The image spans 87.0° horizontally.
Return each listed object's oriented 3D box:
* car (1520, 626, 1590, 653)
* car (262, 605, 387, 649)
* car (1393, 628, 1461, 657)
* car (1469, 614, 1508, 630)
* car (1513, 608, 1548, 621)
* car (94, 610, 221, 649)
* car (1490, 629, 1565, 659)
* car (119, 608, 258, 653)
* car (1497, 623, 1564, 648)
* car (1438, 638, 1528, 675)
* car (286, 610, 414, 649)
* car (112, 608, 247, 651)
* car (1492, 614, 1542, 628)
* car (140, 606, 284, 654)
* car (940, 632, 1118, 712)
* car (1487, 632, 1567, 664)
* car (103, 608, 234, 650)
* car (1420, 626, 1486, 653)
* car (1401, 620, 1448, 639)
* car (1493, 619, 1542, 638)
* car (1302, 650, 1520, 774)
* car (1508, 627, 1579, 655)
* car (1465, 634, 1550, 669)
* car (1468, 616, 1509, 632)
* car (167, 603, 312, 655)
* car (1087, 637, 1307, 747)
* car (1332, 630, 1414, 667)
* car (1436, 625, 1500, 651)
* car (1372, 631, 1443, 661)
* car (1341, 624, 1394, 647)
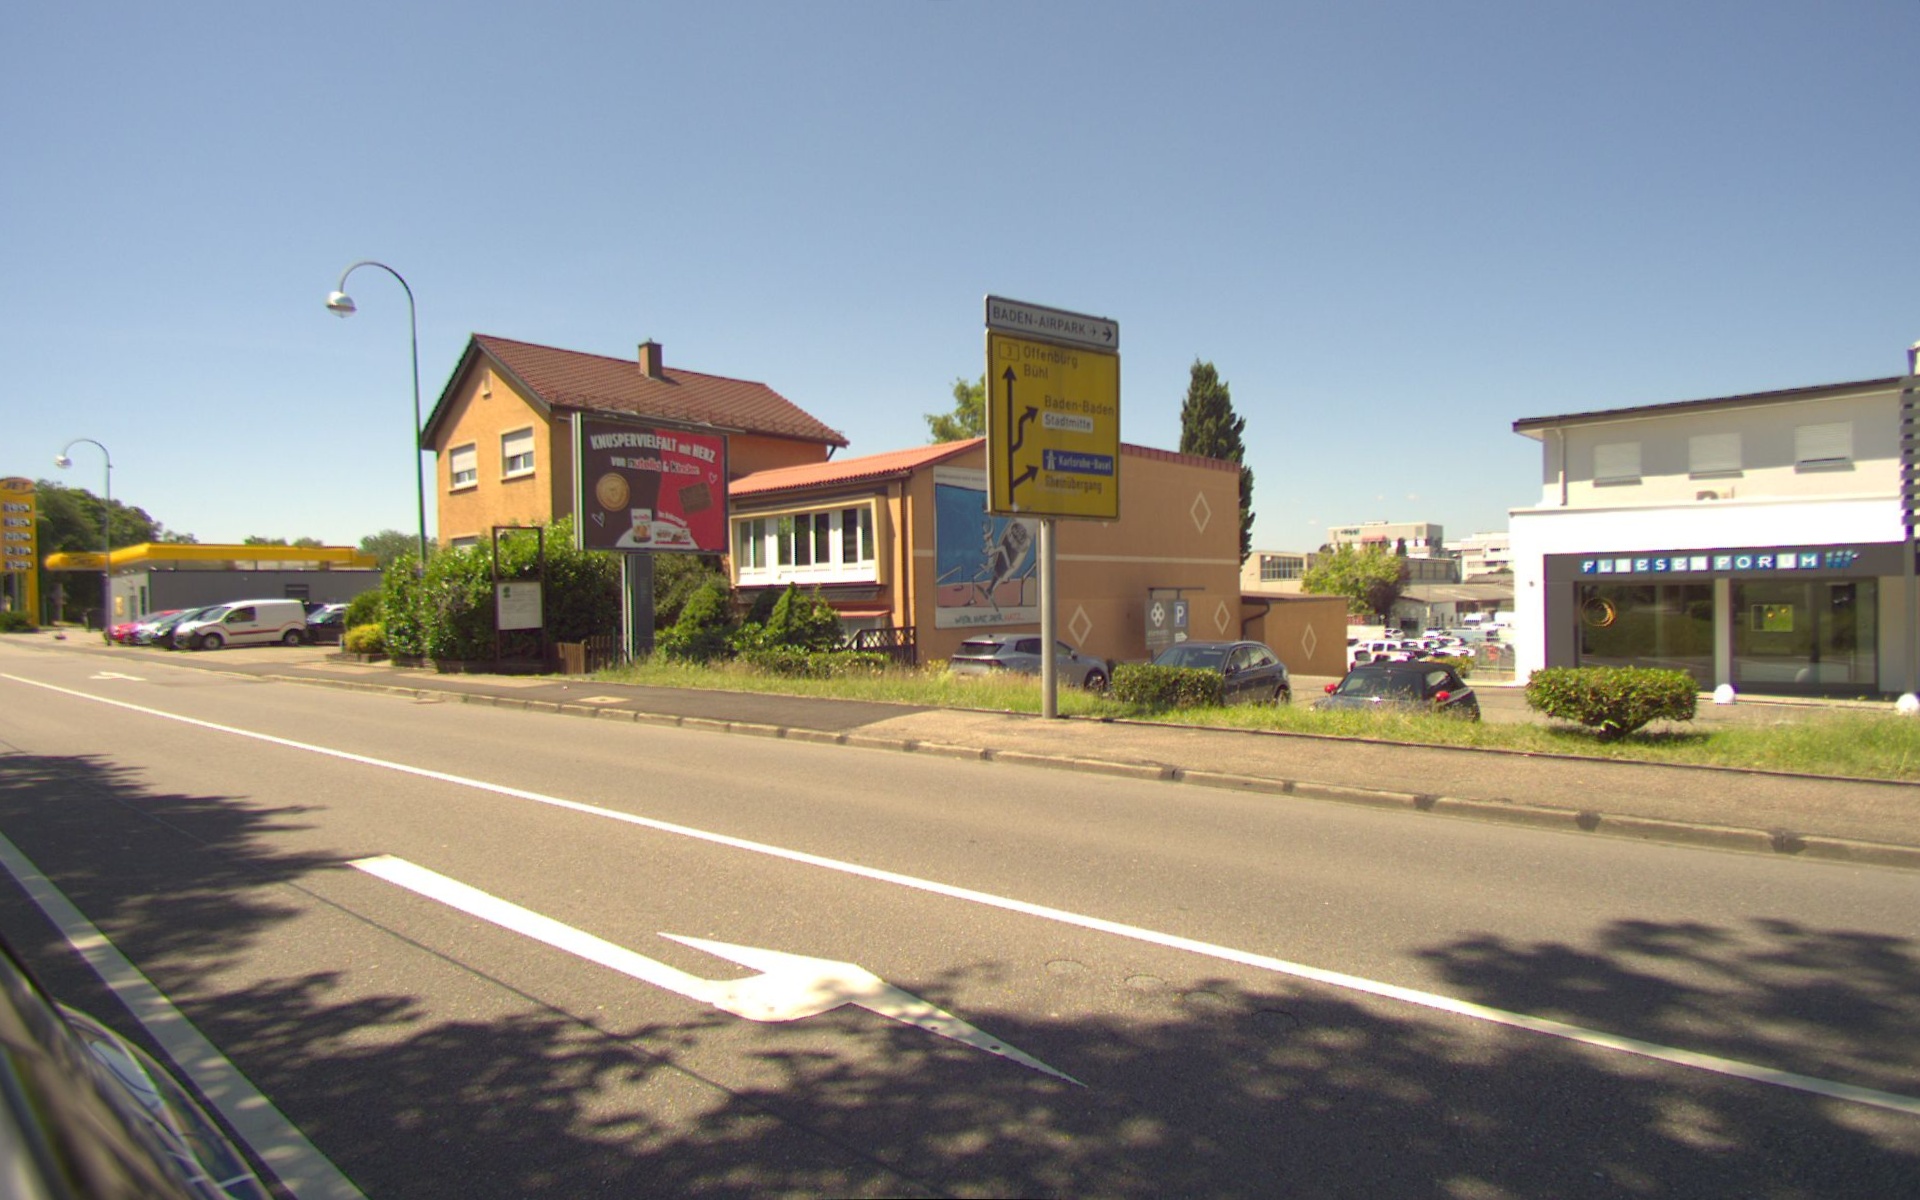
[{"bbox_3d":[40.567,2.681,69.043,3.774,1.768,1.707,-1,-1,44],"label":"car"},{"bbox_3d":[-28.050,1.163,44.786,1.871,1.839,4.351,-1,-1,35],"label":"car"},{"bbox_3d":[31.108,2.806,67.429,3.774,1.768,1.707,-1,-1,44],"label":"car"},{"bbox_3d":[61.525,2.579,117.882,3.774,1.768,1.707,-1,-1,44],"label":"car"},{"bbox_3d":[76.748,1.977,136.192,3.774,1.768,1.707,-1,-1,44],"label":"car"},{"bbox_3d":[-37.729,1.350,47.675,1.871,1.773,4.351,-1,-1,35],"label":"car"},{"bbox_3d":[35.569,2.751,63.504,3.774,1.768,1.707,-1,-1,44],"label":"car"},{"bbox_3d":[-32.655,1.257,42.971,1.871,1.773,4.351,-1,-1,35],"label":"car"},{"bbox_3d":[42.571,2.649,75.500,4.055,1.768,1.707,-1,-1,44],"label":"car"},{"bbox_3d":[26.954,2.865,52.233,3.774,1.768,1.707,-1,-1,44],"label":"car"},{"bbox_3d":[-26.168,1.218,43.519,1.871,1.575,4.351,-1,-1,35],"label":"car"},{"bbox_3d":[-34.294,1.269,44.574,1.871,1.773,4.351,-1,-1,35],"label":"car"},{"bbox_3d":[71.460,2.647,129.869,5.303,1.768,2.037,-1,-1,44],"label":"car"},{"bbox_3d":[-29.376,1.143,39.873,1.871,1.773,4.198,-1,-1,35],"label":"car"},{"bbox_3d":[1.685,1.615,23.759,4.165,1.621,1.773,0,-1,-42],"label":"car"},{"bbox_3d":[33.128,2.781,59.194,3.774,1.768,1.707,-1,-1,44],"label":"car"},{"bbox_3d":[-35.922,1.284,46.019,1.871,1.773,4.351,-1,-1,35],"label":"car"},{"bbox_3d":[34.443,2.759,70.769,3.774,1.768,1.707,-1,-1,44],"label":"car"},{"bbox_3d":[44.714,2.805,97.520,3.774,1.768,1.707,-1,-1,44],"label":"car"},{"bbox_3d":[53.073,2.696,96.330,3.774,1.768,1.707,0,1,44],"label":"car"},{"bbox_3d":[7.256,1.659,16.113,4.039,1.544,1.772,0,-1,-44],"label":"car"},{"bbox_3d":[38.529,2.703,66.874,3.774,1.768,1.707,-1,-1,44],"label":"car"},{"bbox_3d":[30.260,2.820,55.986,3.774,1.768,1.707,-1,-1,44],"label":"car"},{"bbox_3d":[58.857,2.668,112.703,3.774,1.768,1.707,-1,-1,44],"label":"car"},{"bbox_3d":[-27.516,1.071,38.769,1.871,1.883,4.143,-1,-1,35],"label":"car"},{"bbox_3d":[4.420,1.557,18.460,4.462,1.654,1.772,0,-1,-44],"label":"car"},{"bbox_3d":[23.964,2.774,58.808,4.001,2.029,1.971,-1,-1,44],"label":"car"},{"bbox_3d":[36.530,2.733,72.862,3.774,1.768,1.707,-1,-1,44],"label":"car"},{"bbox_3d":[28.300,2.868,64.043,3.774,1.768,1.707,-1,-1,44],"label":"car"},{"bbox_3d":[34.043,2.950,84.643,3.774,1.768,1.707,-1,-1,44],"label":"car"}]
